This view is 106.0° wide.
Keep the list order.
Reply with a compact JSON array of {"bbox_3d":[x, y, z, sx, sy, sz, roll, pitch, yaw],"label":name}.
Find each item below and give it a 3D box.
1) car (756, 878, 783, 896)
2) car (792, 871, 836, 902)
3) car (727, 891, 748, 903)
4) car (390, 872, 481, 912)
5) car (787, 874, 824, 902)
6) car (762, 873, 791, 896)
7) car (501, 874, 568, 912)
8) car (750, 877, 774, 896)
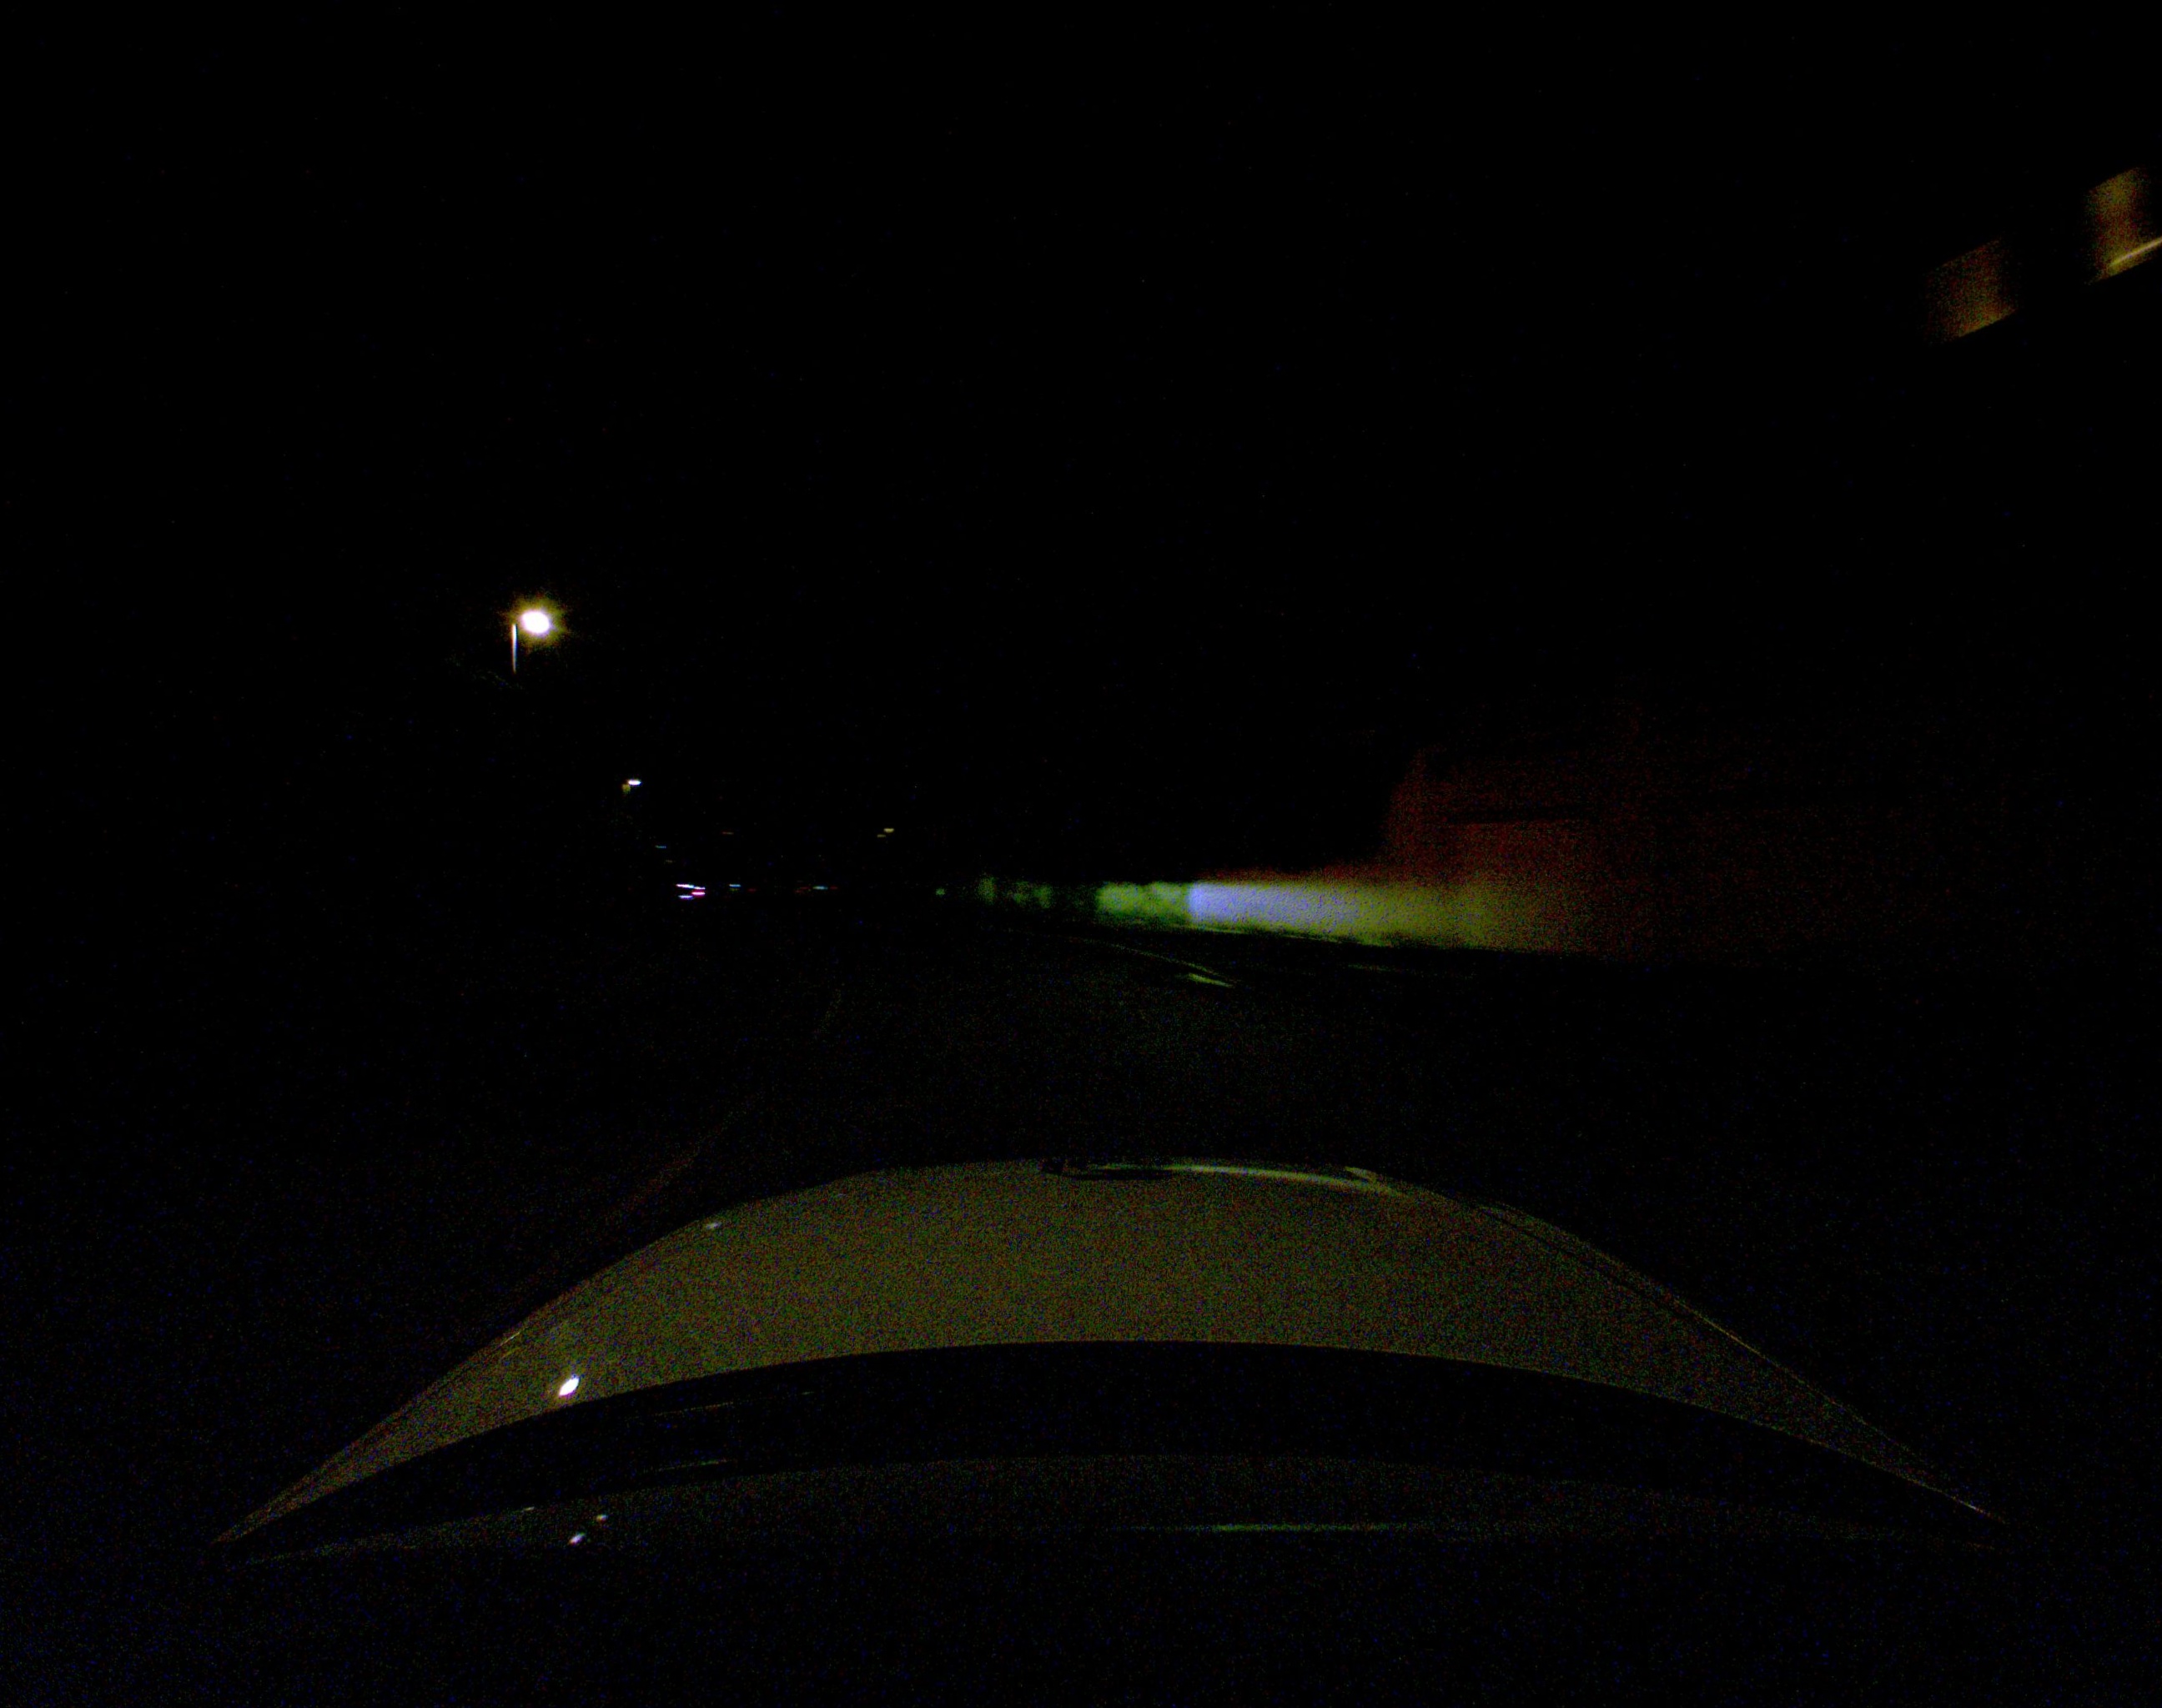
[{"bbox_3d":[-26.369,2.782,68.810,1.753,1.471,4.219,2,-3,-26],"label":"car"},{"bbox_3d":[-14.620,1.741,44.479,1.763,1.594,4.689,1,-2,-25],"label":"car"},{"bbox_3d":[-42.171,5.288,99.932,1.773,1.476,4.234,2,-4,-29],"label":"car"},{"bbox_3d":[-24.438,1.403,30.992,1.858,1.427,3.965,1,-2,-26],"label":"car"},{"bbox_3d":[-16.462,1.979,48.550,1.617,1.461,3.685,-3,1,-26],"label":"car"},{"bbox_3d":[-23.925,2.419,63.957,1.727,1.761,4.717,1,-3,-25],"label":"car"},{"bbox_3d":[-21.790,1.518,32.614,1.987,1.439,3.960,1,-2,-31],"label":"car"},{"bbox_3d":[-28.891,2.954,73.781,1.840,1.664,4.581,0,-3,-24],"label":"car"}]
